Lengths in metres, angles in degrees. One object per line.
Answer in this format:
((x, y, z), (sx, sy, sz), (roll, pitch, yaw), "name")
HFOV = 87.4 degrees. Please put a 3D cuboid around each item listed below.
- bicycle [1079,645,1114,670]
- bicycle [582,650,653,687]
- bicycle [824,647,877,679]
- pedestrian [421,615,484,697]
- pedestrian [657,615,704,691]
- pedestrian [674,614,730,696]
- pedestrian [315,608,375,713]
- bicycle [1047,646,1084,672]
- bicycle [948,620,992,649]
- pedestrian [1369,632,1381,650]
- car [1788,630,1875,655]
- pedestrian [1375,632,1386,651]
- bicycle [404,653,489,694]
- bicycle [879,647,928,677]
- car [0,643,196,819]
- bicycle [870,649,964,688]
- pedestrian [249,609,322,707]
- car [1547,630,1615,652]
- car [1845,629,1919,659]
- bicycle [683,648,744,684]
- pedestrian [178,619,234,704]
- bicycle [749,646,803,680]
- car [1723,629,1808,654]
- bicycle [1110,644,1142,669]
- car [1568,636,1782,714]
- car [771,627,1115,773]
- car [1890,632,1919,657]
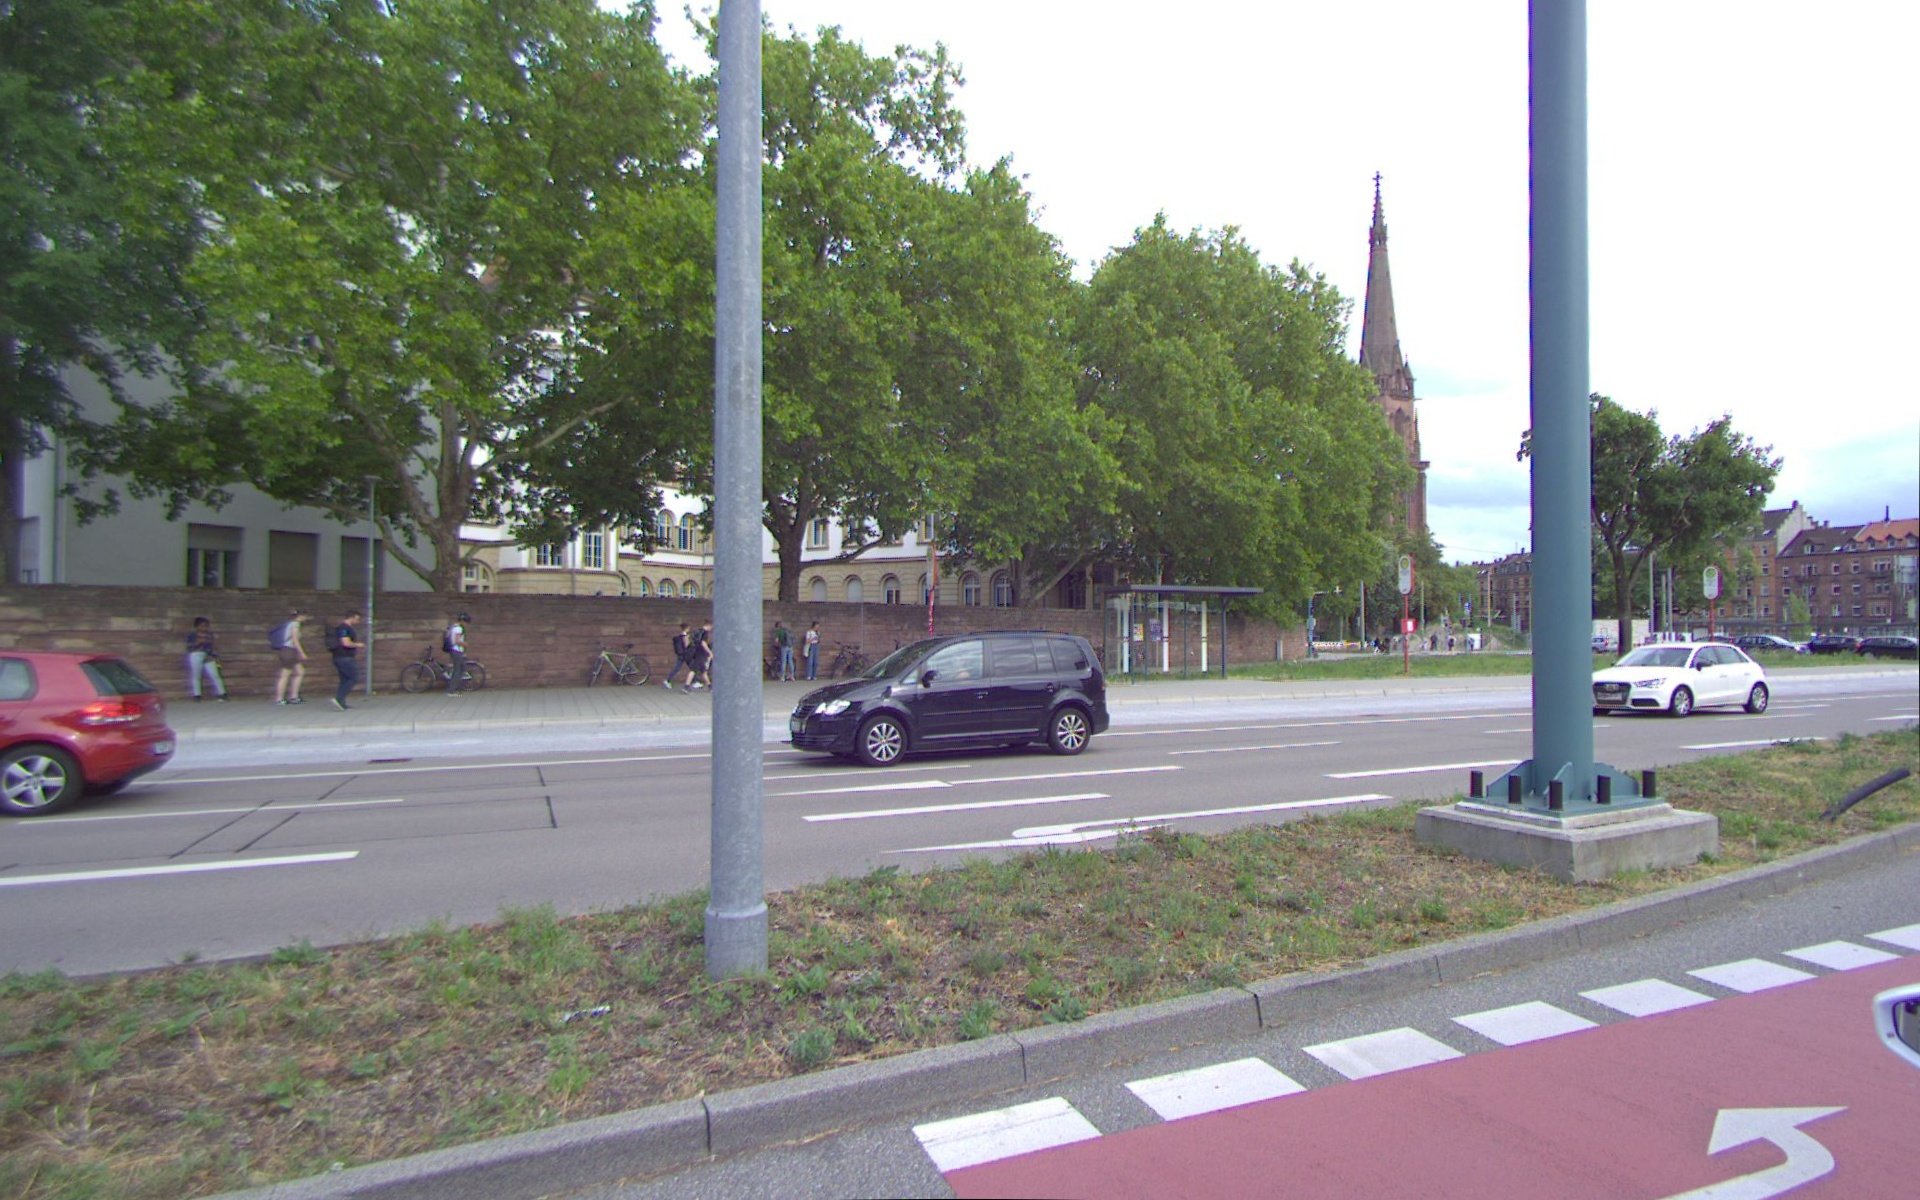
((5.258, 2.211, 38.671), (0.475, 0.919, 1.612), (2, 0, 42), "bicycle")
((-8.469, 1.686, 24.903), (1.608, 0.838, 0.437), (2, 0, -42), "bicycle")
((-3.222, 1.842, 29.586), (0.436, 0.890, 1.610), (2, 0, 45), "bicycle")
((-10.797, 1.176, 21.390), (0.749, 1.693, 0.921), (0, -2, 37), "pedestrian")
((-6.794, 1.284, 24.430), (0.749, 1.806, 0.781), (0, -2, 38), "pedestrian")
((-5.814, 1.229, 22.680), (0.749, 1.806, 0.921), (0, -2, 37), "pedestrian")
((-11.041, 1.098, 18.037), (0.751, 1.805, 0.718), (-7, -7, 42), "pedestrian")
((3.887, 2.165, 36.963), (0.475, 0.919, 1.612), (2, 0, 42), "bicycle")
((0.331, 1.136, 33.134), (0.475, 0.919, 1.611), (2, 0, 43), "bicycle")
((36.021, 3.550, 87.192), (0.717, 1.581, 0.559), (1, -2, -30), "pedestrian")
((53.788, 2.600, 62.041), (1.565, 1.413, 3.748), (1, 0, -28), "car")
((36.086, 3.537, 86.135), (0.717, 1.581, 0.559), (1, -2, -30), "pedestrian")
((-11.424, 1.617, 22.368), (1.608, 0.838, 0.437), (2, 0, -42), "bicycle")
((-1.726, 1.902, 31.058), (0.436, 0.890, 1.610), (2, 0, 45), "bicycle")
((-9.740, 1.166, 9.065), (4.234, 1.509, 1.795), (1, -2, -28), "car")
((-1.059, 1.691, 25.051), (2.301, 0.931, 0.470), (1, -1, -17), "bicycle")
((-12.793, 1.082, 19.061), (0.749, 1.806, 0.911), (0, -2, 37), "pedestrian")
((47.398, 3.108, 76.757), (1.627, 1.671, 4.136), (1, -2, -29), "car")
((52.307, 2.443, 55.652), (1.640, 1.495, 4.650), (1, 0, -28), "car")
((-6.518, 1.729, 26.568), (1.544, 0.890, 0.412), (2, 0, -42), "bicycle")
((-14.641, 1.181, 19.499), (0.580, 1.613, 0.731), (0, -3, 43), "pedestrian")
((-5.099, 1.728, 27.860), (1.510, 0.890, 0.343), (2, 0, -42), "bicycle")
((49.317, 2.524, 61.567), (1.565, 1.413, 3.748), (1, 0, -28), "car")
((6.629, 2.252, 40.121), (0.475, 0.919, 1.612), (2, 0, 42), "bicycle")
((14.117, 1.432, 19.830), (3.867, 1.407, 1.667), (1, -3, -24), "car")
((-0.206, 1.236, 13.393), (4.244, 1.687, 1.796), (1, -4, -27), "car")
((56.215, 2.580, 57.716), (1.565, 1.413, 3.748), (1, 0, -28), "car")
